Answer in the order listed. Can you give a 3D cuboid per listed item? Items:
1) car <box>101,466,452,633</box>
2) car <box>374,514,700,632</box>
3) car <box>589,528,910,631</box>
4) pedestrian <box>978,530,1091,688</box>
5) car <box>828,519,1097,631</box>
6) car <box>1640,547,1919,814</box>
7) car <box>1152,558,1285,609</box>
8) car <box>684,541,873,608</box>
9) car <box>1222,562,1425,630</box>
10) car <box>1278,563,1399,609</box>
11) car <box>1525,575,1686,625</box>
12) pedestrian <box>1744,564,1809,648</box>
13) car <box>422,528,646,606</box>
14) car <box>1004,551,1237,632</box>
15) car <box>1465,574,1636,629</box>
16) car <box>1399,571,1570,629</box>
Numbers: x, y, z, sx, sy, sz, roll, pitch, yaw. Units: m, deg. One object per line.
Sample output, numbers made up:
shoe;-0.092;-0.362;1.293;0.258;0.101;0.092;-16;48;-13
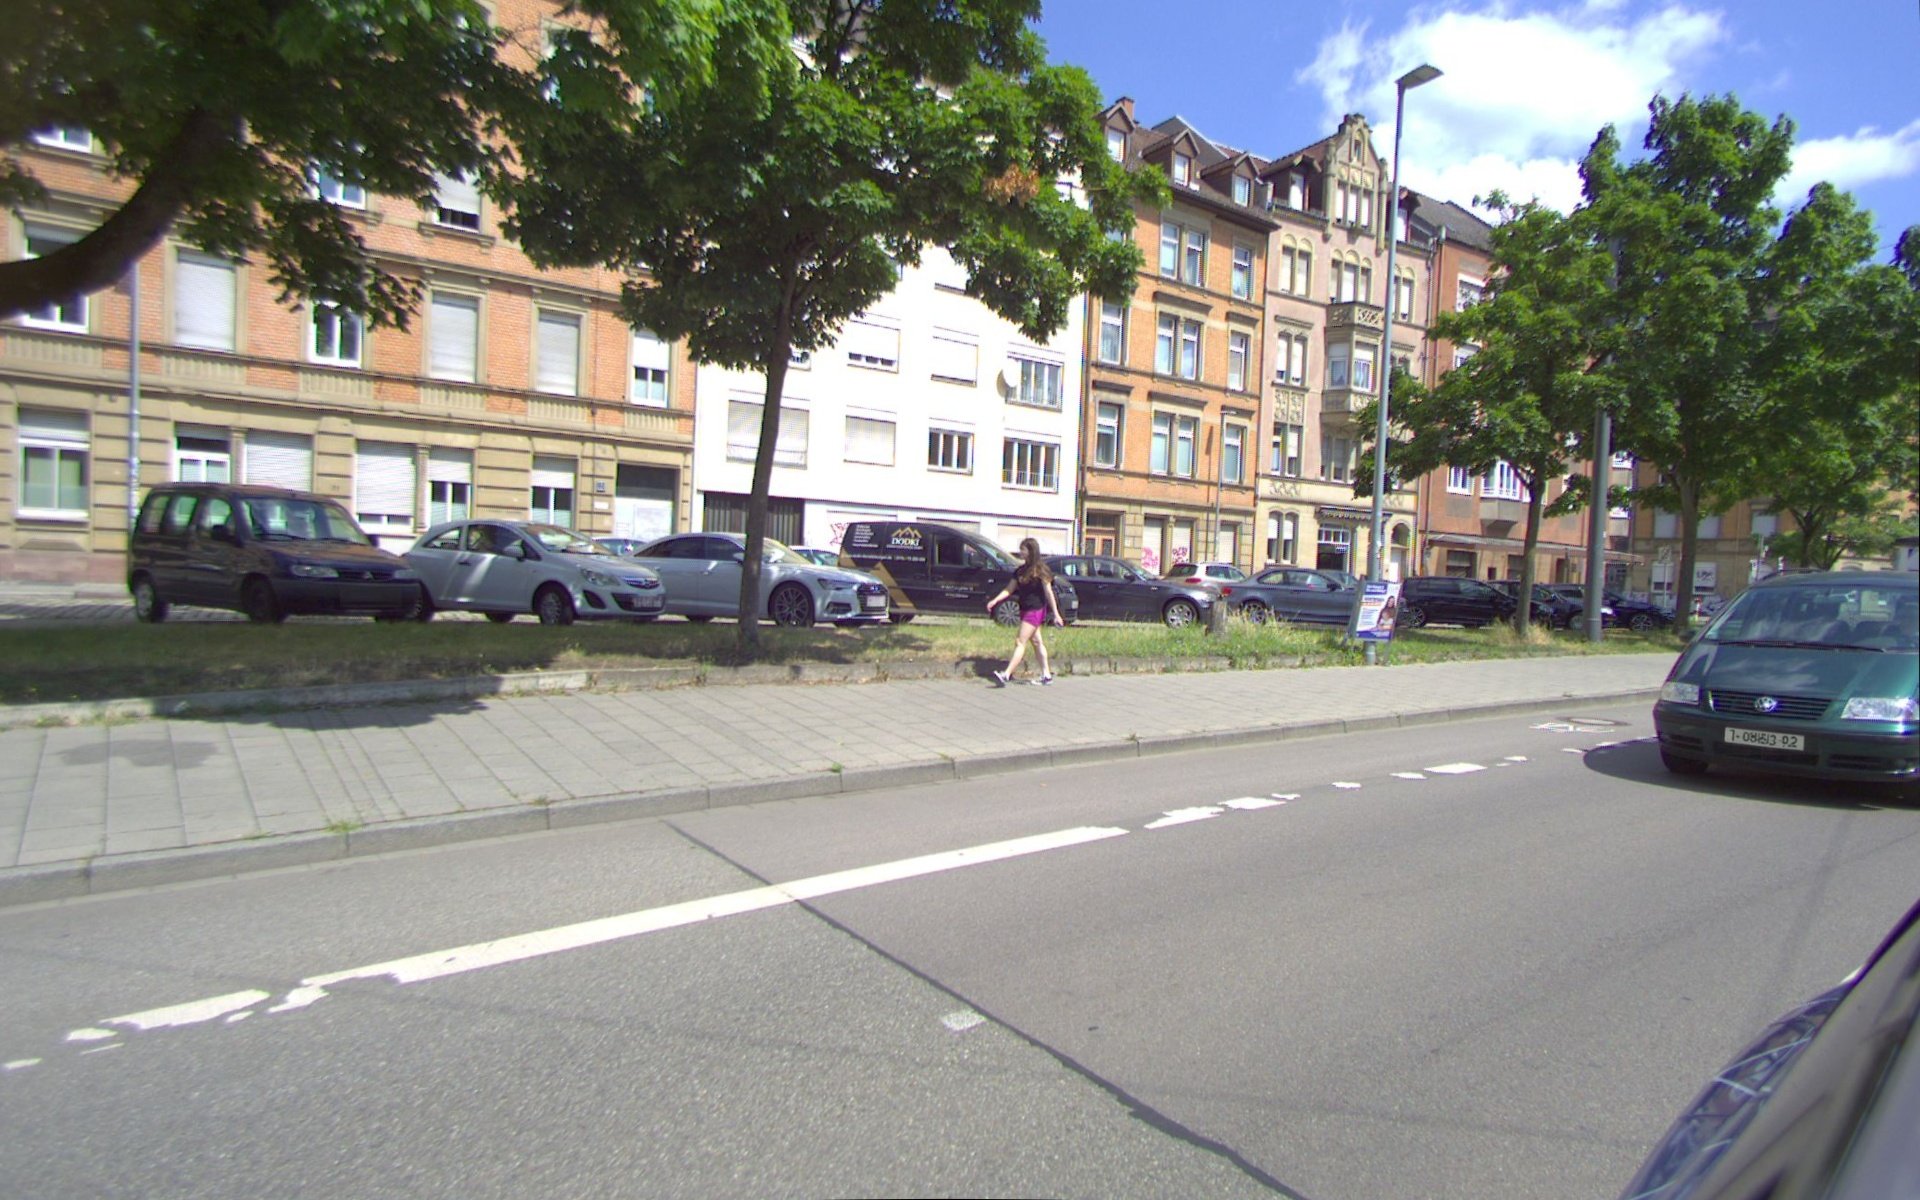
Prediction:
car;-8.437;-0.610;12.462;4.110;1.762;1.835;2;1;27
car;-5.794;-0.400;13.897;4.038;1.423;1.839;2;1;22
car;-3.262;-0.354;15.605;4.641;1.397;1.838;2;1;23
pedestrian;0.802;0.080;10.984;0.888;1.610;0.703;1;5;-34
car;0.054;-0.464;17.571;4.314;1.762;1.839;2;1;21
car;7.966;0.506;8.813;4.937;1.778;1.824;0;2;-37
car;8.780;-0.536;34.280;4.408;1.635;1.839;0;1;-33
car;-4.401;-0.601;24.756;4.144;1.510;1.839;0;1;-33
car;8.313;-0.131;23.337;4.218;1.397;1.840;2;1;21
car;14.192;-0.513;37.917;4.405;1.635;1.840;0;1;-30
car;19.547;-0.032;30.746;3.974;1.371;1.937;2;2;35
pedestrian;17.540;0.116;21.747;1.025;1.724;0.703;0;4;-34
car;-9.056;-0.667;21.601;4.144;1.510;1.839;0;1;-33
car;3.144;-0.205;19.810;4.218;1.397;1.840;2;1;21
car;16.721;-0.001;28.901;3.957;1.397;1.945;2;1;25
car;14.177;-0.047;27.464;3.965;1.397;1.941;2;1;30
